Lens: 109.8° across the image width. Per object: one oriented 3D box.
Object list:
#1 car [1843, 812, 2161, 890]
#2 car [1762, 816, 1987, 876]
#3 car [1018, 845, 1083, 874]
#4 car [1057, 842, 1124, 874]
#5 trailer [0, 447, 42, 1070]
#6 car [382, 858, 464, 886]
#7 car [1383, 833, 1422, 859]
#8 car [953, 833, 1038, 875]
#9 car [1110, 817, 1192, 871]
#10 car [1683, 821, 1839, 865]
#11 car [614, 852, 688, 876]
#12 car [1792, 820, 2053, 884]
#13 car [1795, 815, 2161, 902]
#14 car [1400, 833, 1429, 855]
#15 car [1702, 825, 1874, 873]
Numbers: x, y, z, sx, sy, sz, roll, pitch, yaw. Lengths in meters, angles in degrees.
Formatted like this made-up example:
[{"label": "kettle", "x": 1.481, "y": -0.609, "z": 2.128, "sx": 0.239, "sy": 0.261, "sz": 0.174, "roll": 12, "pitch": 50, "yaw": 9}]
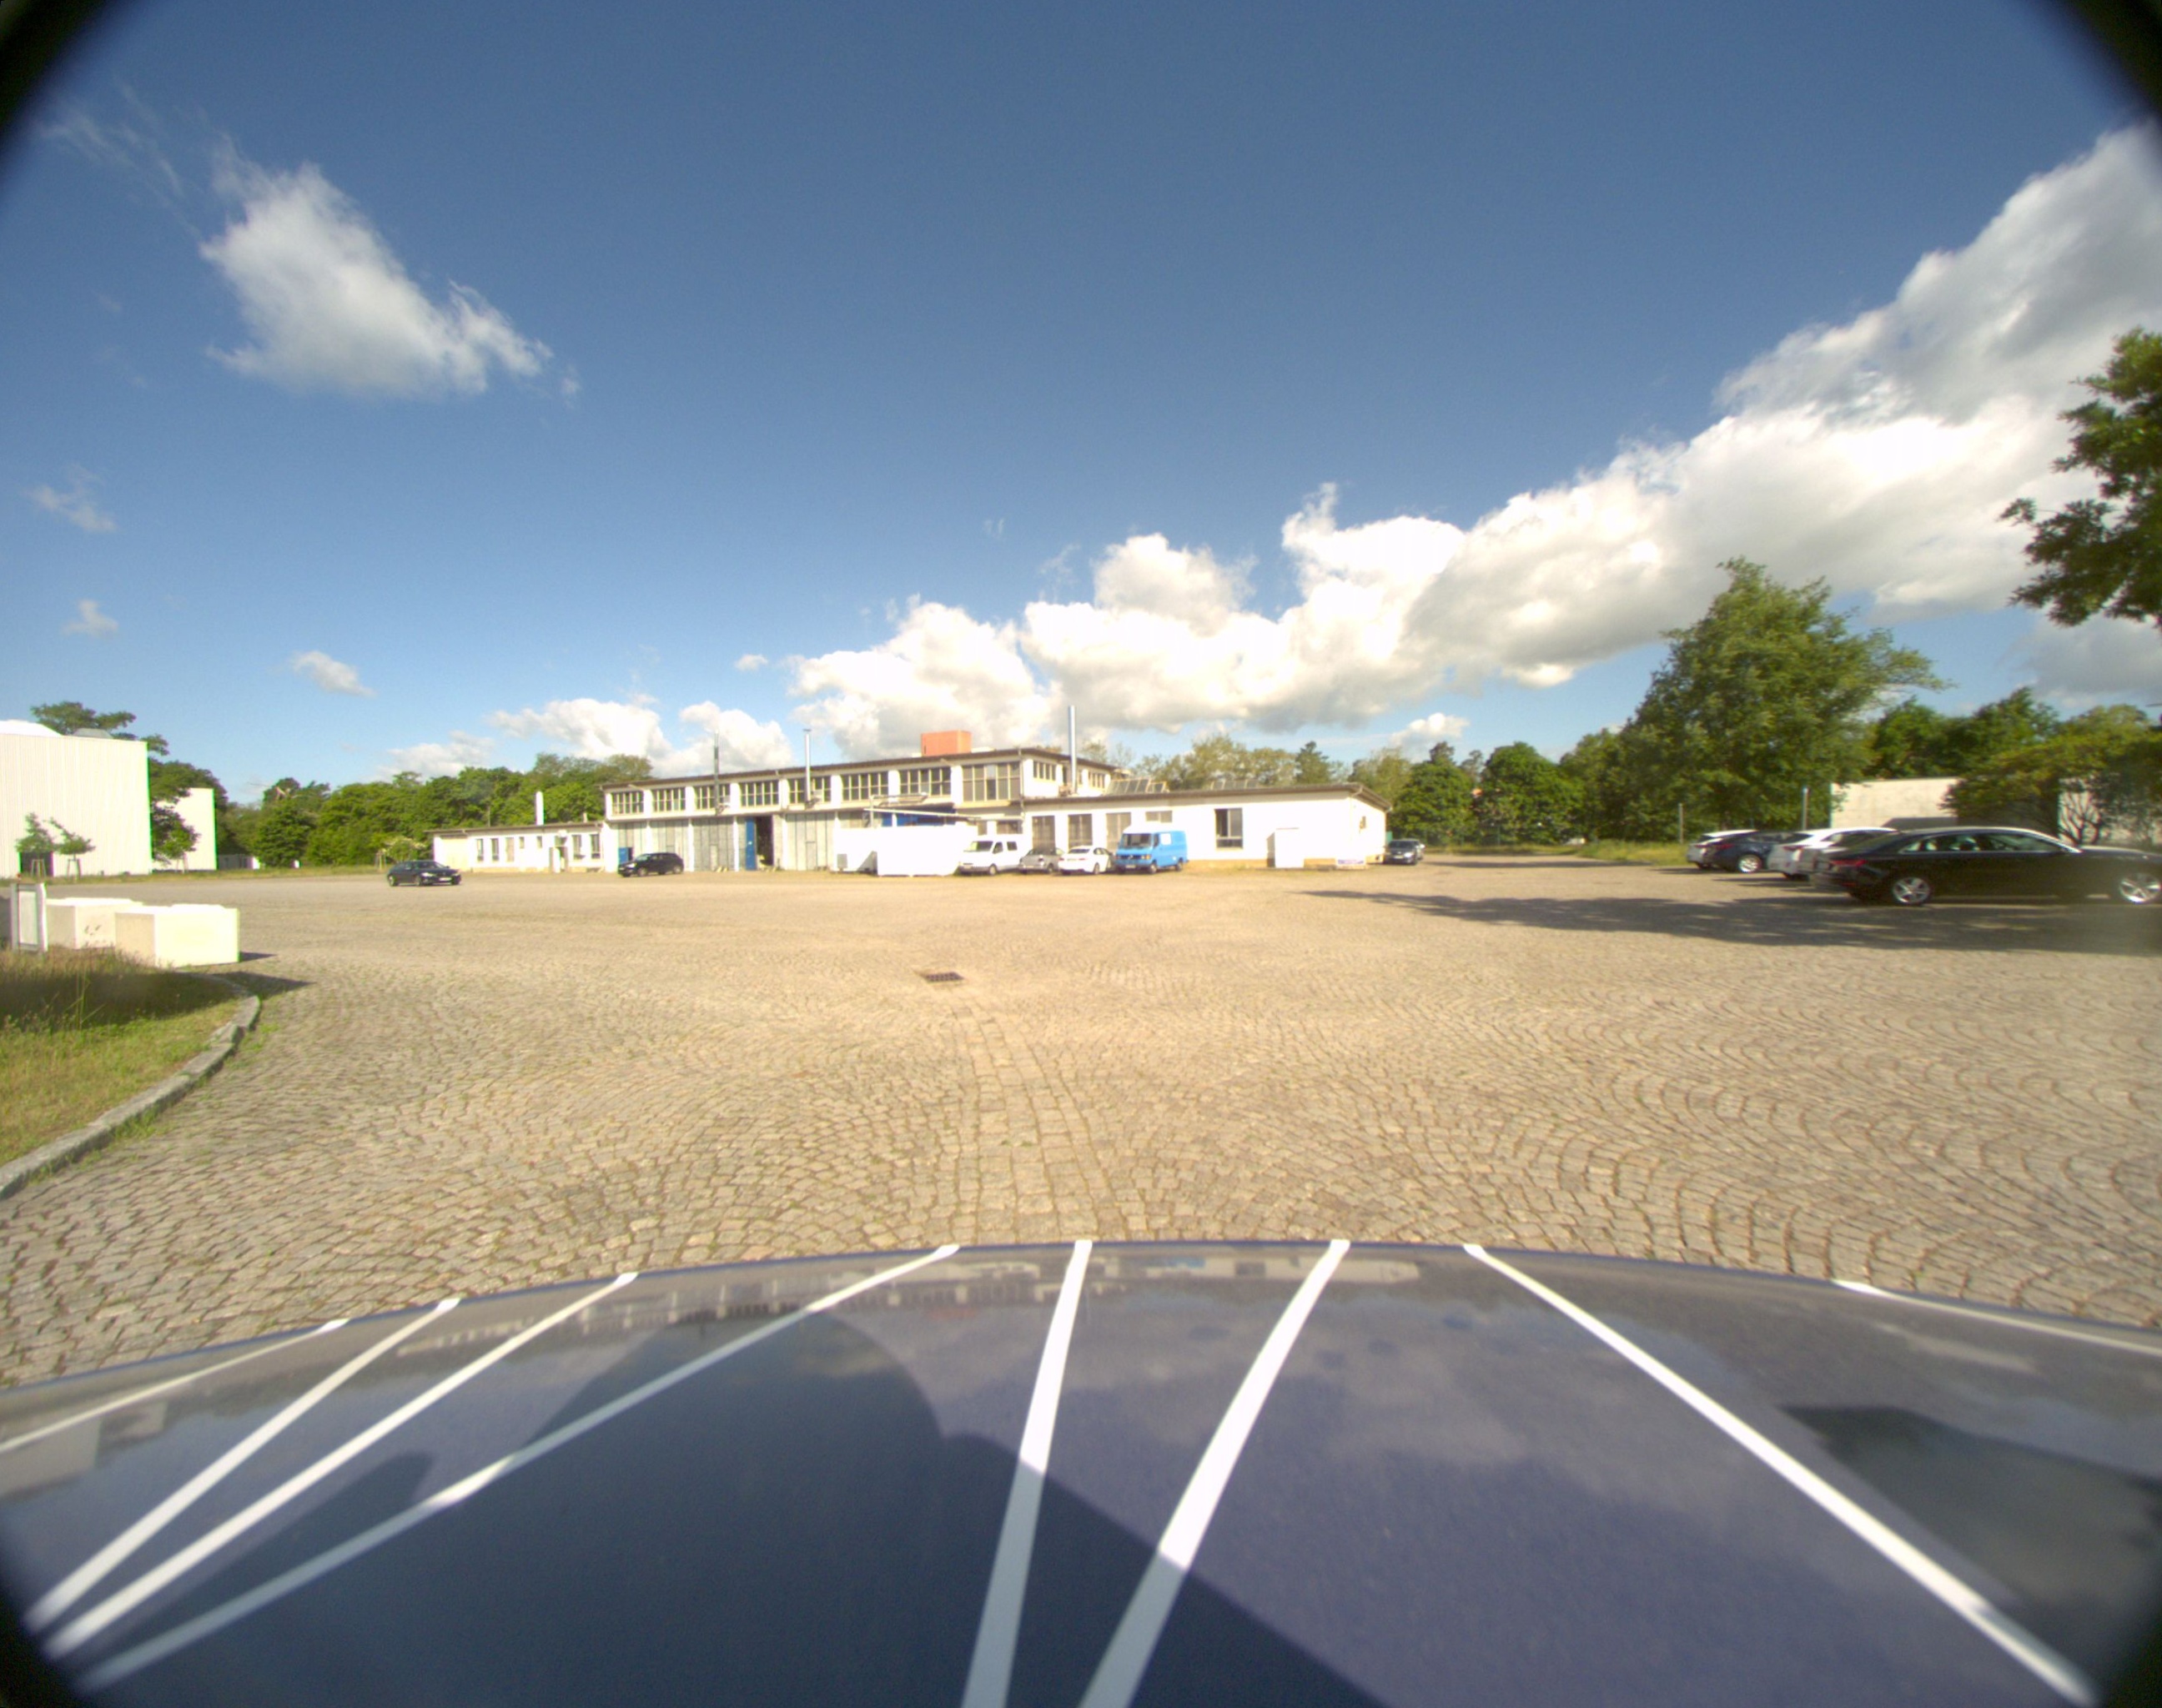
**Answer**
[{"label": "car", "x": 19.557, "y": -0.030, "z": 16.353, "sx": 4.141, "sy": 1.451, "sz": 1.694, "roll": -2, "pitch": 0, "yaw": 31}, {"label": "car", "x": 21.611, "y": -0.196, "z": 20.929, "sx": 3.915, "sy": 1.438, "sz": 1.758, "roll": -2, "pitch": 0, "yaw": 27}, {"label": "car", "x": -1.570, "y": 0.247, "z": 40.063, "sx": 1.688, "sy": 1.390, "sz": 3.838, "roll": 0, "pitch": 1, "yaw": 28}, {"label": "car", "x": 0.524, "y": 0.176, "z": 37.971, "sx": 1.733, "sy": 1.398, "sz": 3.744, "roll": -1, "pitch": 2, "yaw": 28}, {"label": "trailer", "x": -10.480, "y": -0.461, "z": 0.655, "sx": 2.774, "sy": 3.888, "sz": 10.904, "roll": -1, "pitch": 1, "yaw": 28}, {"label": "car", "x": -35.781, "y": 0.999, "z": 41.320, "sx": 4.066, "sy": 1.421, "sz": 1.743, "roll": -1, "pitch": 1, "yaw": 23}, {"label": "car", "x": 18.493, "y": -0.471, "z": 43.627, "sx": 1.764, "sy": 1.427, "sz": 3.998, "roll": 0, "pitch": 1, "yaw": 27}, {"label": "car", "x": -4.493, "y": -0.053, "z": 40.760, "sx": 2.004, "sy": 2.070, "sz": 4.812, "roll": -1, "pitch": 2, "yaw": 29}, {"label": "car", "x": 3.570, "y": -0.552, "z": 37.853, "sx": 2.084, "sy": 2.469, "sz": 5.247, "roll": -1, "pitch": 2, "yaw": 29}, {"label": "car", "x": 24.943, "y": -0.393, "z": 28.055, "sx": 3.915, "sy": 1.427, "sz": 1.799, "roll": -2, "pitch": 0, "yaw": 27}, {"label": "car", "x": -29.508, "y": 0.659, "z": 52.265, "sx": 1.736, "sy": 1.461, "sz": 4.082, "roll": -1, "pitch": 2, "yaw": 24}, {"label": "car", "x": 20.402, "y": -0.021, "z": 18.683, "sx": 3.915, "sy": 1.364, "sz": 1.731, "roll": -2, "pitch": 0, "yaw": 27}, {"label": "car", "x": 17.113, "y": 0.110, "z": 14.505, "sx": 4.723, "sy": 1.415, "sz": 1.760, "roll": -2, "pitch": 0, "yaw": 25}, {"label": "car", "x": 23.274, "y": -0.721, "z": 52.972, "sx": 1.688, "sy": 1.427, "sz": 3.993, "roll": 0, "pitch": 1, "yaw": 27}, {"label": "car", "x": 23.732, "y": -0.149, "z": 25.697, "sx": 3.915, "sy": 1.409, "sz": 1.695, "roll": -2, "pitch": 0, "yaw": 27}]
